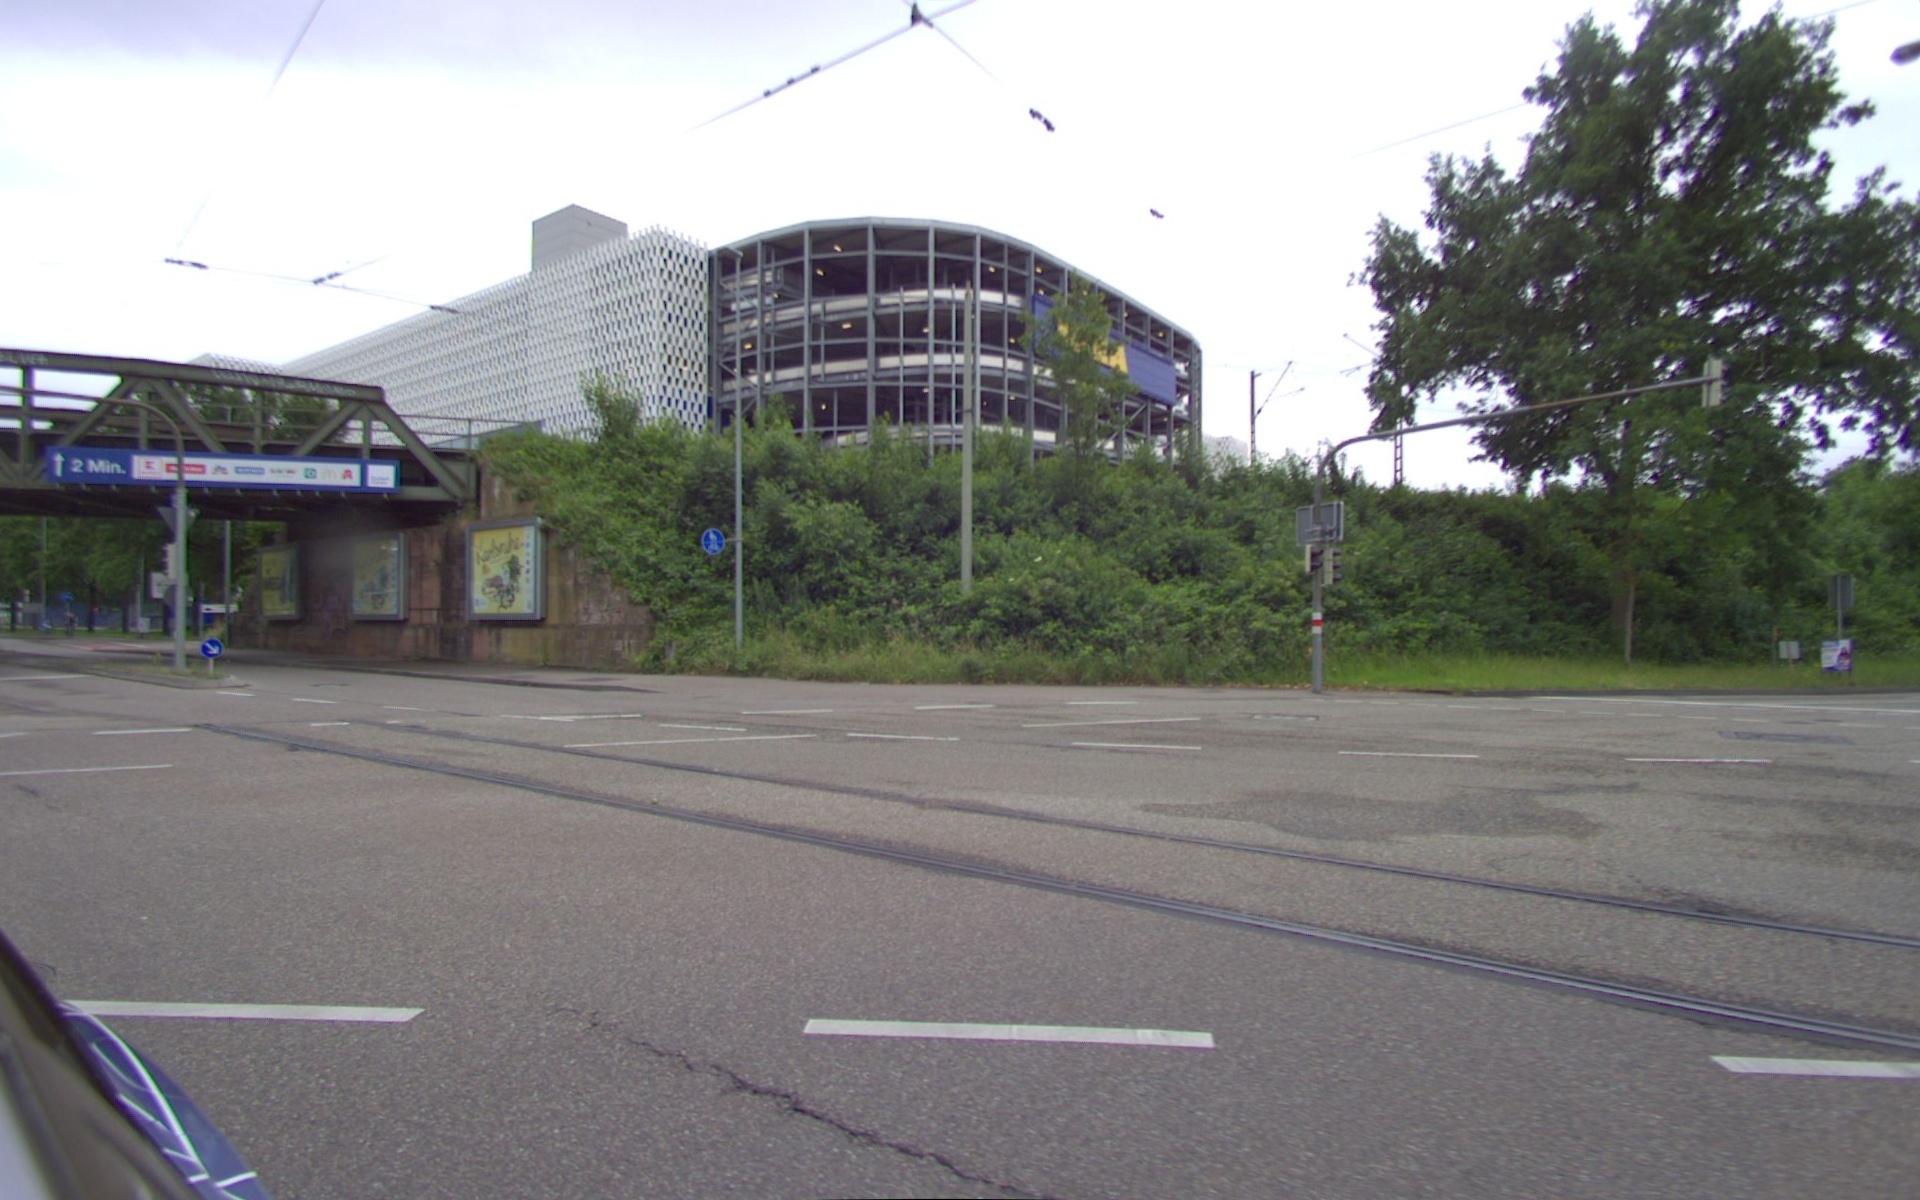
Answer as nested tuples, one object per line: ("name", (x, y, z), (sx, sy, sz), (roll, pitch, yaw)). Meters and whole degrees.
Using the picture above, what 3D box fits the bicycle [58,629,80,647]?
("bicycle", (-61.385, 2.620, 69.730), (2.367, 1.196, 0.706), (0, 1, 37))

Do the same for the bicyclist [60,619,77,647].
("bicyclist", (-61.425, 2.249, 69.746), (1.018, 1.888, 0.695), (0, 0, 37))
